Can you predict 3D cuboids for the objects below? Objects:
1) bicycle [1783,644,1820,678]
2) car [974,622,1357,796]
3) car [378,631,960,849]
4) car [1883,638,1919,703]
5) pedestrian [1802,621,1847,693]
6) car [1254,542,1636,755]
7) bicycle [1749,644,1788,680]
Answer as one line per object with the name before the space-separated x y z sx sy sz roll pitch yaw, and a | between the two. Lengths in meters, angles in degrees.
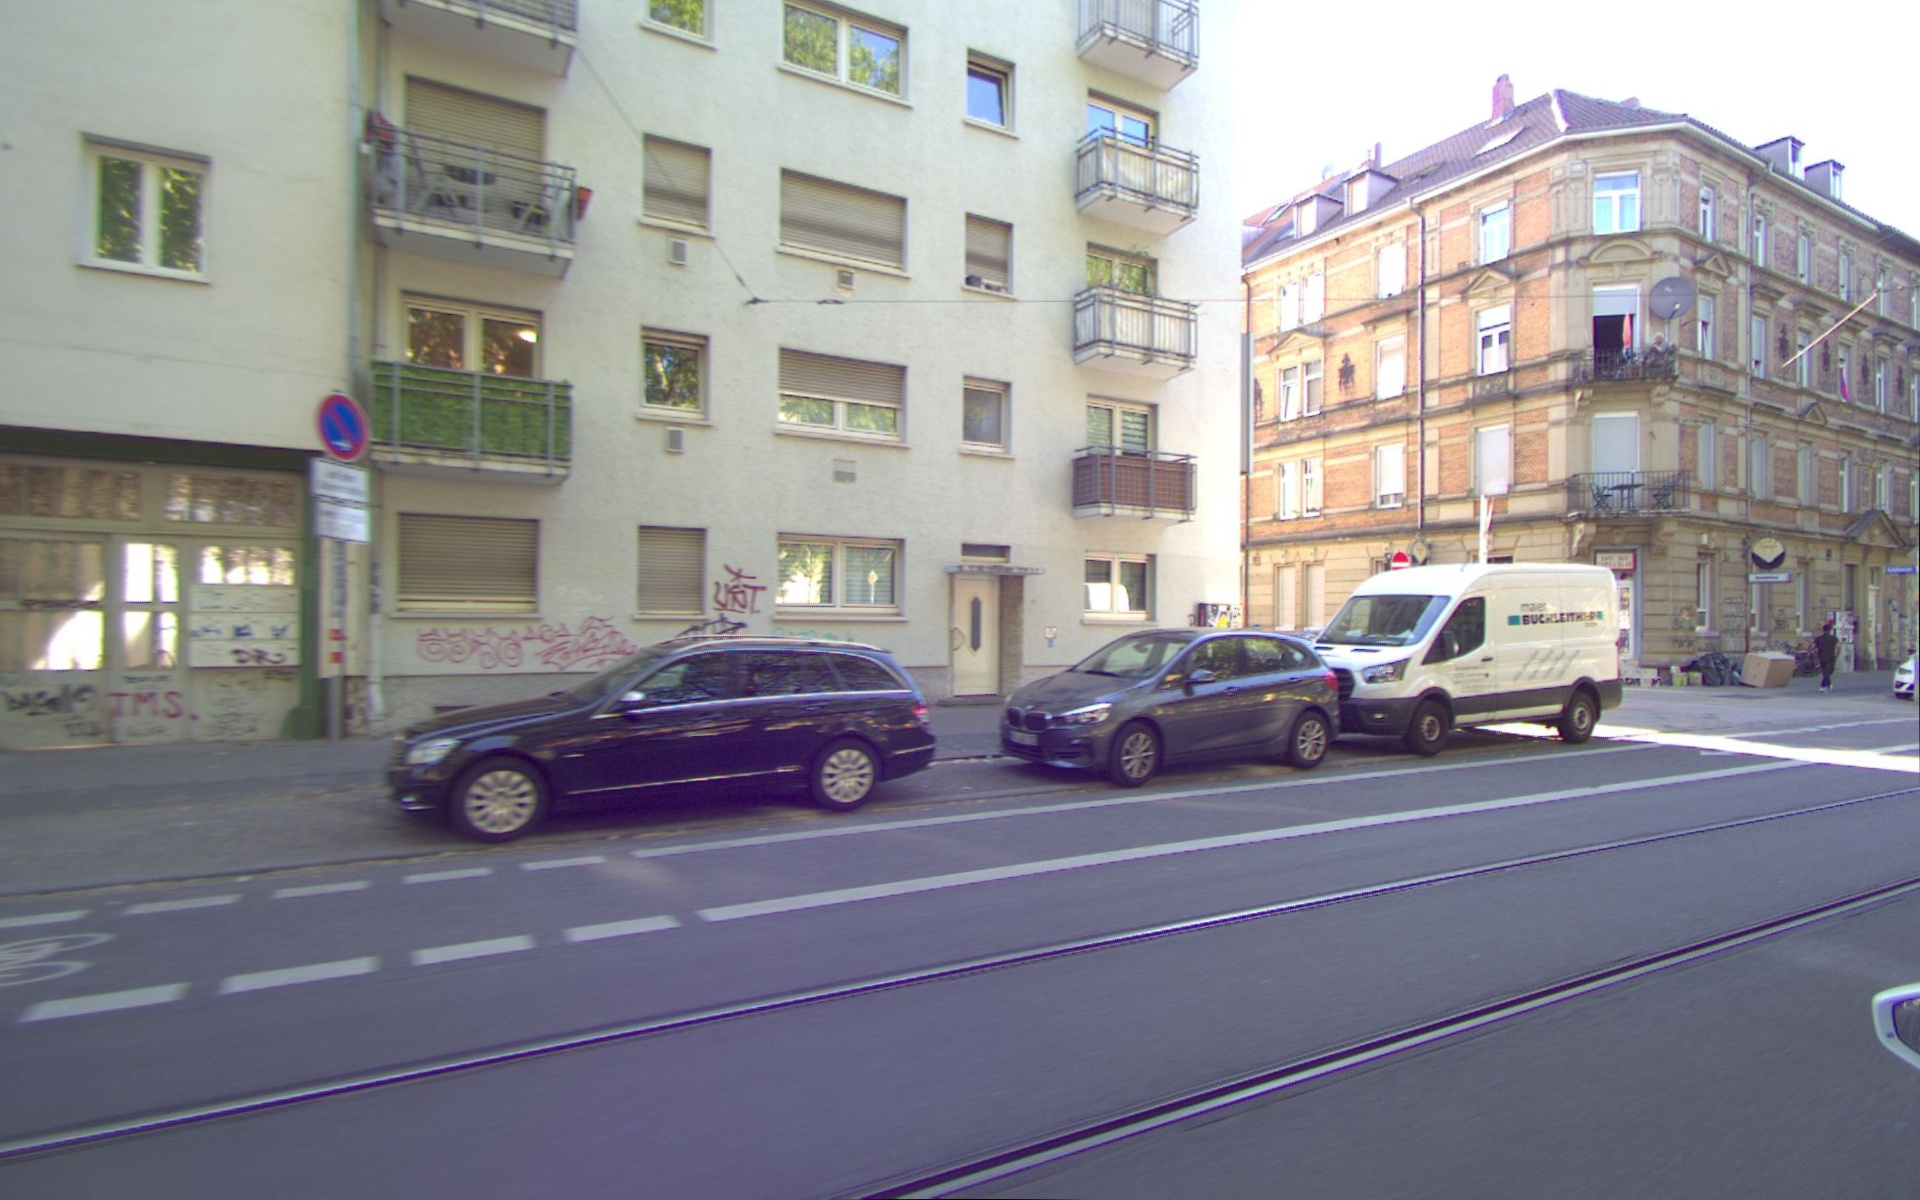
bicycle | 26.560 1.909 31.683 1.828 1.048 0.370 1 -1 -33
car | 2.420 1.104 11.462 4.297 1.653 1.710 1 -1 -31
car | -2.388 1.031 8.732 4.515 1.475 1.711 1 -1 -28
car | 24.510 1.723 24.599 3.998 1.511 1.732 1 0 -31
pedestrian | 22.607 1.474 26.270 1.048 1.825 0.678 1 0 -39
car | 7.022 0.653 14.373 5.596 2.569 2.057 1 -1 -28
bicycle | 24.677 1.873 30.643 1.828 1.048 0.370 1 -1 -33
